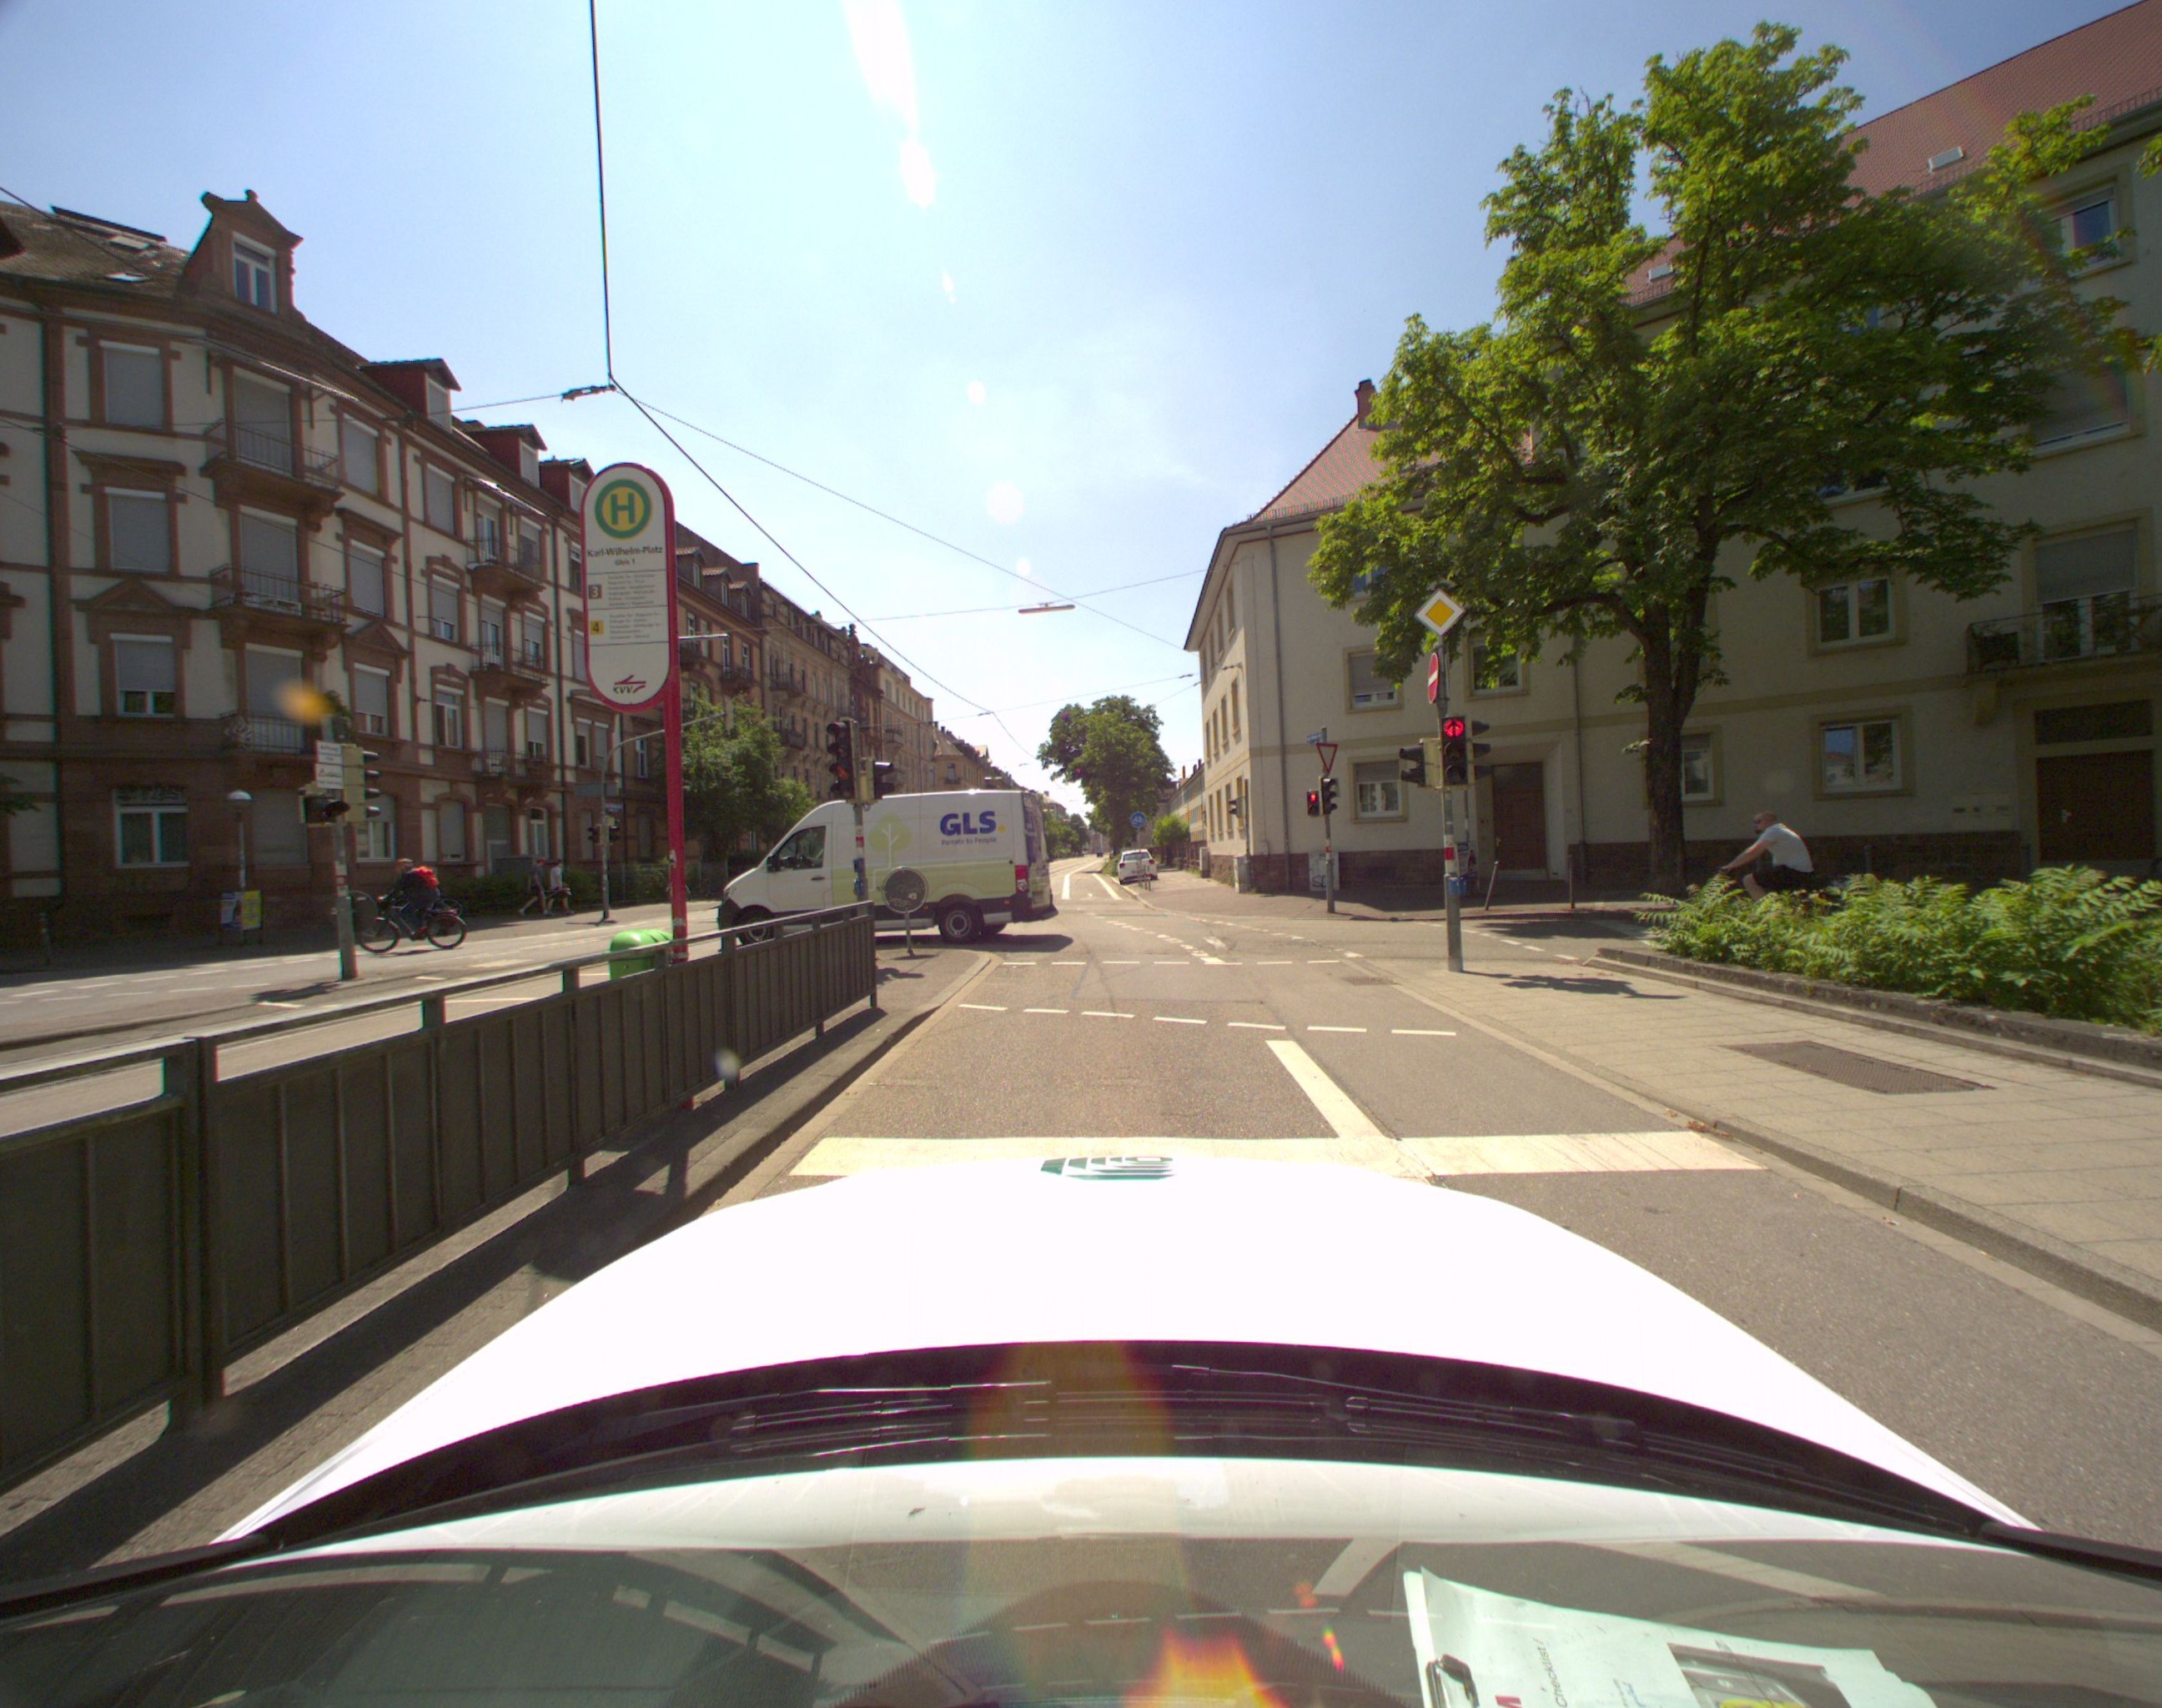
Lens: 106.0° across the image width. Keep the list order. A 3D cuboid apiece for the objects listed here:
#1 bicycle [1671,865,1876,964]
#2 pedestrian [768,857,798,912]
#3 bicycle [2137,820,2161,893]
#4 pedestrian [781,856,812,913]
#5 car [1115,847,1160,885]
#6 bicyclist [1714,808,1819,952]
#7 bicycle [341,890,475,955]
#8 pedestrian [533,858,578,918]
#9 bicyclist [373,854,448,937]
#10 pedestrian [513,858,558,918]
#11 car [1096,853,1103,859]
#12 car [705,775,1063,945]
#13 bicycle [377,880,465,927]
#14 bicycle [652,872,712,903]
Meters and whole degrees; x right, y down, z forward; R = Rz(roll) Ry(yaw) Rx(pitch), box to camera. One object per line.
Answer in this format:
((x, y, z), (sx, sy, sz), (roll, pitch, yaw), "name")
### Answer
((8.027, 0.678, 9.553), (1.743, 1.056, 0.704), (-2, -1, 35), "bicycle")
((-9.042, 0.912, 24.743), (0.671, 1.645, 0.559), (0, -1, 6), "pedestrian")
((17.011, 0.018, 12.085), (0.527, 1.104, 1.589), (-2, 0, -34), "bicycle")
((-8.320, 0.890, 23.788), (0.671, 1.645, 0.559), (0, -1, 6), "pedestrian")
((2.528, 0.526, 37.423), (1.808, 1.516, 4.001), (-4, -1, 2), "car")
((8.010, 0.296, 9.562), (0.838, 1.592, 0.704), (-2, -1, 35), "bicyclist")
((-13.190, 1.324, 16.018), (1.922, 1.173, 0.646), (-1, -1, -13), "bicycle")
((-16.526, 1.056, 25.629), (0.808, 1.822, 0.879), (0, 1, 29), "pedestrian")
((-13.120, 0.796, 15.964), (0.897, 1.561, 0.719), (-1, -1, -14), "bicyclist")
((-17.289, 1.063, 25.810), (0.808, 1.822, 0.879), (0, 1, 29), "pedestrian")
((4.720, 0.615, 210.298), (1.818, 1.519, 4.001), (0, 0, 2), "car")
((-3.420, 0.154, 14.740), (5.774, 2.673, 2.280), (-2, -1, 9), "car")
((-19.553, 1.437, 24.163), (0.557, 1.294, 1.975), (-1, -1, 43), "bicycle")
((-15.667, 1.297, 32.085), (0.934, 1.136, 2.774), (0, -1, 1), "bicycle")
